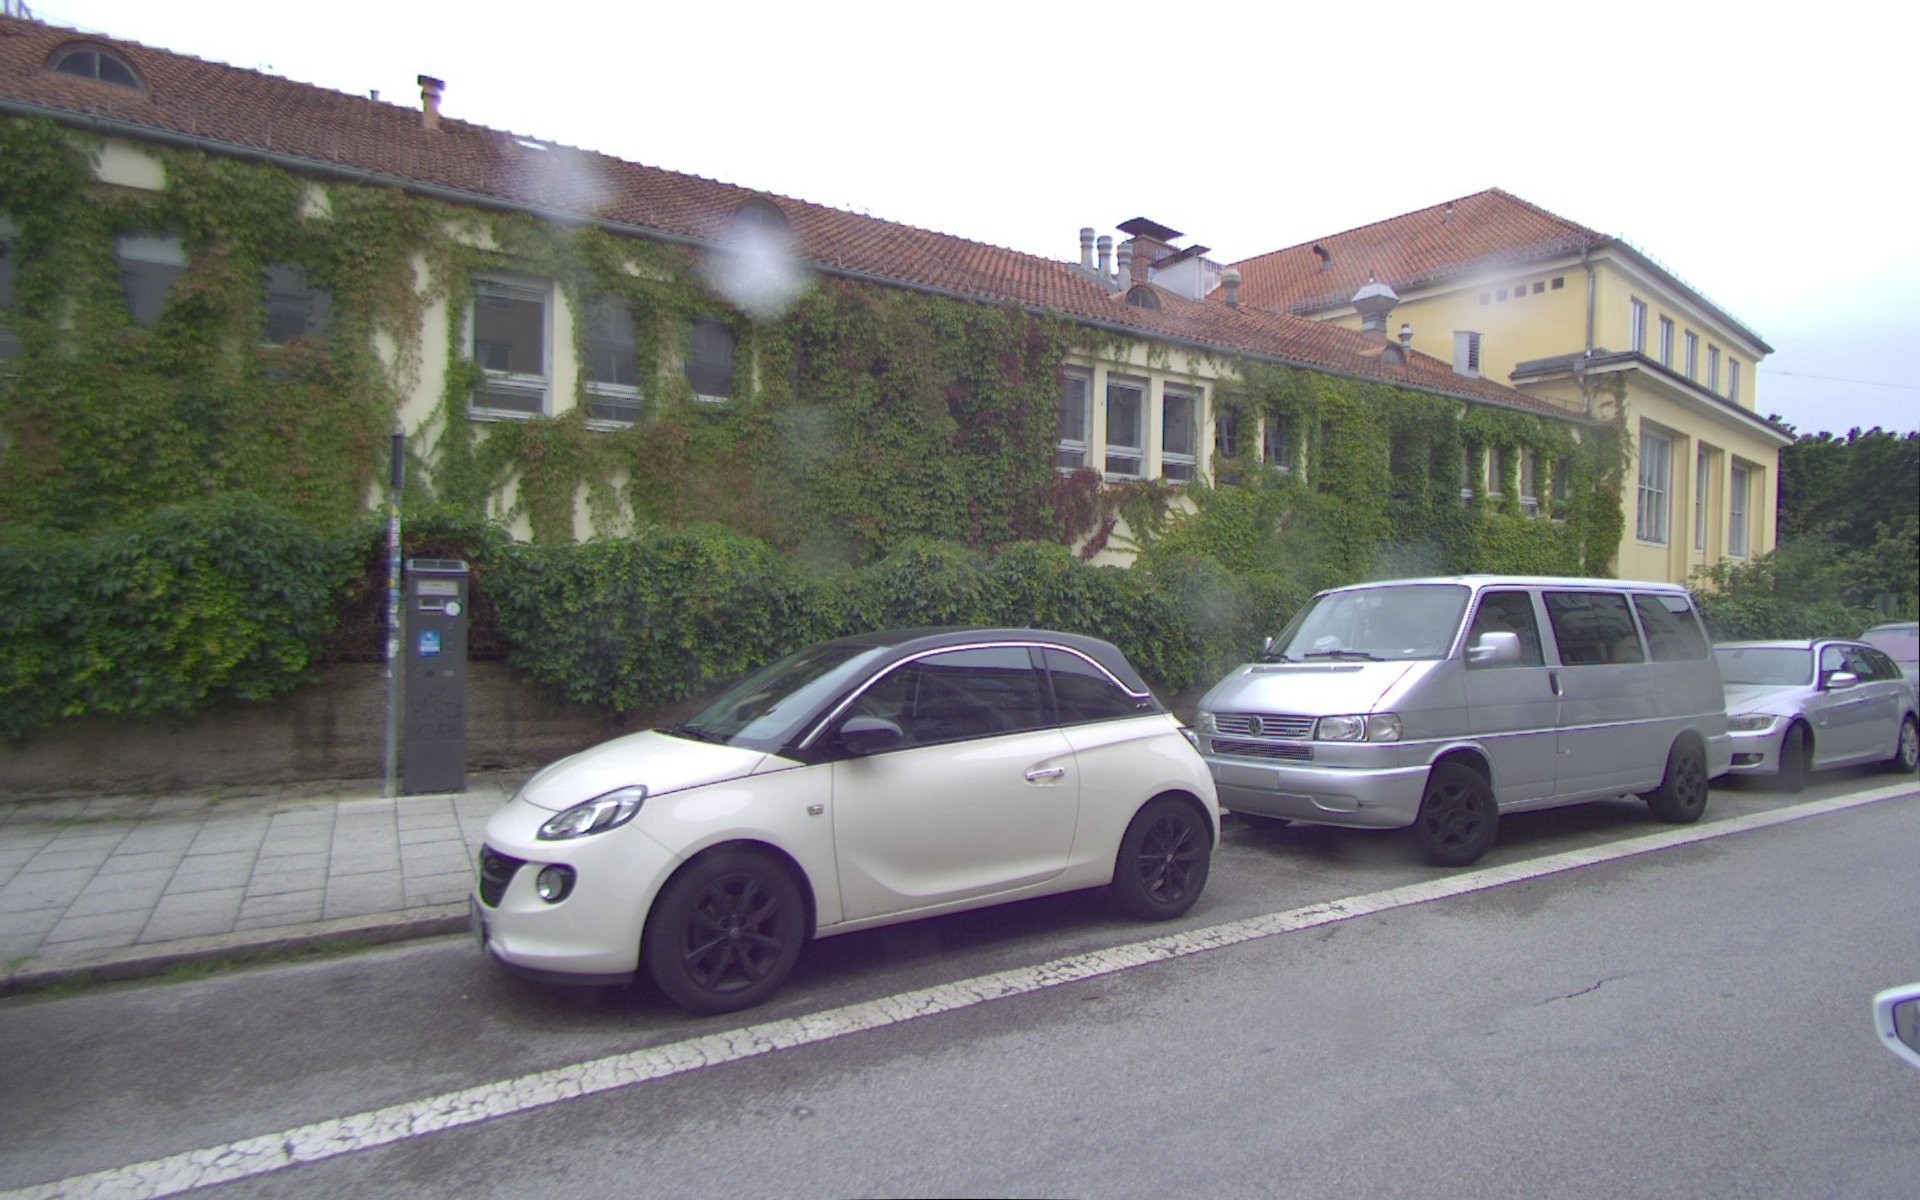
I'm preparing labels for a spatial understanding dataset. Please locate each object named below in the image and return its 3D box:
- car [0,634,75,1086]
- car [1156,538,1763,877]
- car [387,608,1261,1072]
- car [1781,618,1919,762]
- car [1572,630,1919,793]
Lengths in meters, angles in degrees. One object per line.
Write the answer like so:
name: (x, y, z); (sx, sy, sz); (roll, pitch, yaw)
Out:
car: (-4.893, 0.801, 2.179); (4.204, 1.449, 1.595); (1, -3, -32)
car: (3.930, 0.687, 7.702); (4.717, 1.914, 1.879); (1, -3, -30)
car: (-0.489, 0.818, 4.935); (3.975, 1.460, 1.582); (1, -2, -33)
car: (12.728, 1.094, 13.190); (4.440, 1.664, 1.688); (1, -3, -32)
car: (8.702, 1.058, 10.756); (4.715, 1.433, 1.645); (1, -3, -31)
